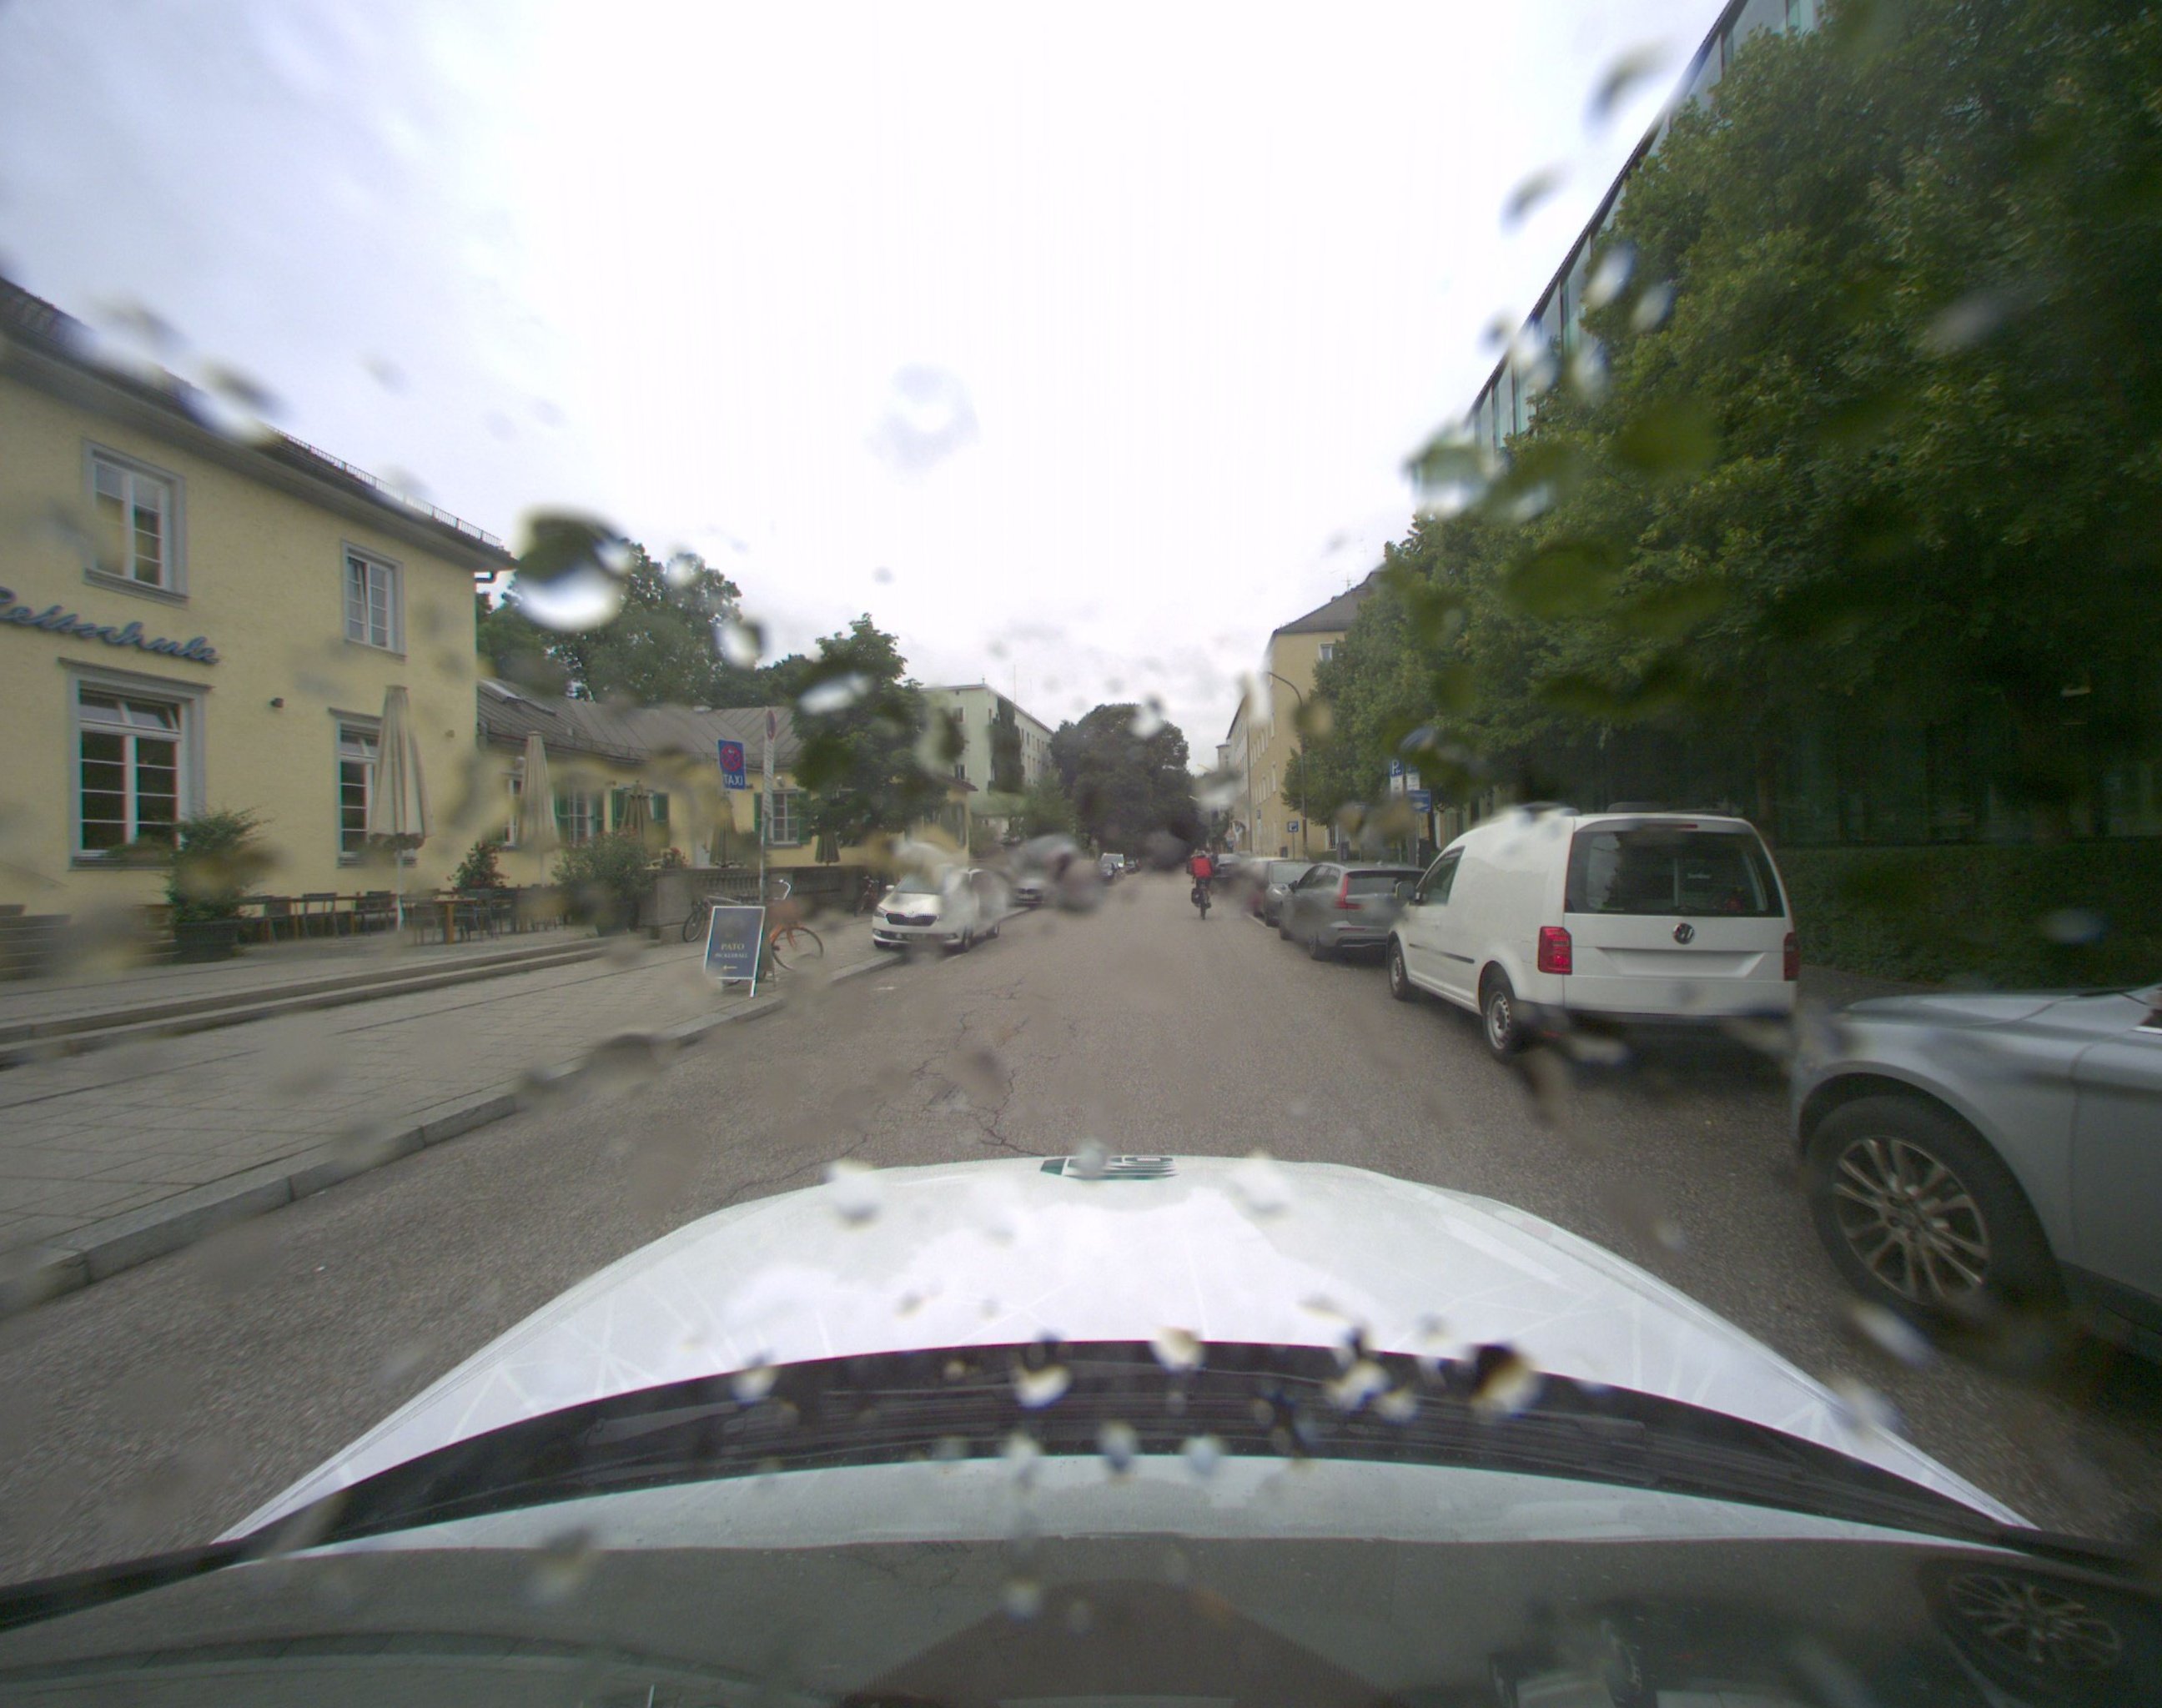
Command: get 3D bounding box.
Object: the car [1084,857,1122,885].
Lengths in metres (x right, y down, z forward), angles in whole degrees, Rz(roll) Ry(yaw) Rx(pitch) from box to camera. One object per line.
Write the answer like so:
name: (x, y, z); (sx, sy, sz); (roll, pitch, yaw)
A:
car: (1.420, 1.038, 51.072); (1.848, 1.544, 4.196); (-4, -1, 8)

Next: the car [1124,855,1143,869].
car: (5.997, 0.886, 92.475); (1.877, 1.590, 4.536); (0, 0, 7)

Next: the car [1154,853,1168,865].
car: (13.034, 0.782, 131.865); (2.172, 1.956, 5.176); (0, 0, 7)

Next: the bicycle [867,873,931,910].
bicycle: (-5.331, 1.092, 23.908); (1.712, 1.028, 0.647); (-1, 0, 13)

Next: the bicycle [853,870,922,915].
bicycle: (-5.196, 1.017, 21.902); (1.640, 1.088, 0.631); (-2, 0, -34)

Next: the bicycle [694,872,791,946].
bicycle: (-6.370, 1.014, 15.347); (1.575, 1.262, 0.565); (-2, 0, -34)

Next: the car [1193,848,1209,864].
car: (17.561, 0.345, 119.411); (2.191, 2.208, 4.866); (-3, -1, 8)

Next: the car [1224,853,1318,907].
car: (5.562, 0.705, 24.514); (1.985, 1.460, 4.962); (0, 0, 4)

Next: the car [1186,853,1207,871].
car: (10.774, 0.762, 75.928); (1.828, 1.531, 4.425); (-3, 0, 8)

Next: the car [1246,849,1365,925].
car: (5.083, 0.684, 19.069); (1.952, 1.552, 4.858); (0, 0, 6)

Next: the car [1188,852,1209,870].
car: (11.672, 0.709, 81.173); (1.983, 1.707, 4.543); (0, 0, 7)

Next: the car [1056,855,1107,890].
car: (0.087, 0.875, 40.259); (1.835, 1.607, 4.753); (0, 0, 8)

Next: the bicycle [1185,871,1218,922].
bicycle: (2.970, 1.002, 19.915); (0.668, 1.141, 2.017); (-1, -1, 11)

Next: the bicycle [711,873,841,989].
bicycle: (-3.999, 0.969, 10.835); (0.774, 1.369, 1.701); (-2, 0, 13)

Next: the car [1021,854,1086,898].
car: (-1.022, 0.844, 33.410); (1.892, 1.692, 4.818); (0, 0, 7)

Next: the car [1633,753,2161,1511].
car: (3.301, 0.613, 1.321); (1.859, 1.691, 4.790); (0, 0, 4)

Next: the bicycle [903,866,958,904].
bicycle: (-4.898, 1.017, 26.525); (1.693, 1.172, 0.353); (-2, -1, 4)

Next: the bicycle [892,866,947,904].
bicycle: (-5.118, 0.982, 25.836); (1.617, 1.173, 0.468); (-1, 0, 13)

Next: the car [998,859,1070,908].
car: (-1.520, 0.955, 28.030); (1.888, 1.519, 4.660); (0, 0, 4)

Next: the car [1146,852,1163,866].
car: (10.876, 0.722, 120.307); (2.236, 1.956, 5.464); (0, 0, 7)

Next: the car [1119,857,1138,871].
car: (4.827, 1.010, 82.790); (1.799, 1.402, 4.930); (0, 0, 4)

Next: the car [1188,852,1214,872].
car: (10.343, 0.704, 70.494); (1.852, 1.577, 4.905); (-3, 0, 4)

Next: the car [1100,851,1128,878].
car: (2.584, 0.787, 62.095); (1.957, 1.990, 5.158); (0, 0, 4)

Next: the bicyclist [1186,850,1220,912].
bicyclist: (2.996, 0.643, 19.947); (0.749, 1.483, 0.984); (-1, -1, 11)

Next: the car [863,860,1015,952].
car: (-2.538, 0.879, 15.715); (1.716, 1.492, 4.469); (0, 0, 6)

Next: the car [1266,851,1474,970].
car: (4.367, 0.749, 13.208); (1.938, 1.552, 5.011); (0, 0, 4)

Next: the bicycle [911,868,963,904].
bicycle: (-4.753, 1.052, 26.890); (1.621, 1.137, 0.388); (-2, -1, 4)

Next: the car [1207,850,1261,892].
car: (6.301, 0.671, 34.041); (1.982, 1.631, 5.111); (0, 0, 8)

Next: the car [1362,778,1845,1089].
car: (4.005, 0.497, 7.329); (1.775, 1.895, 4.581); (0, 0, 6)
